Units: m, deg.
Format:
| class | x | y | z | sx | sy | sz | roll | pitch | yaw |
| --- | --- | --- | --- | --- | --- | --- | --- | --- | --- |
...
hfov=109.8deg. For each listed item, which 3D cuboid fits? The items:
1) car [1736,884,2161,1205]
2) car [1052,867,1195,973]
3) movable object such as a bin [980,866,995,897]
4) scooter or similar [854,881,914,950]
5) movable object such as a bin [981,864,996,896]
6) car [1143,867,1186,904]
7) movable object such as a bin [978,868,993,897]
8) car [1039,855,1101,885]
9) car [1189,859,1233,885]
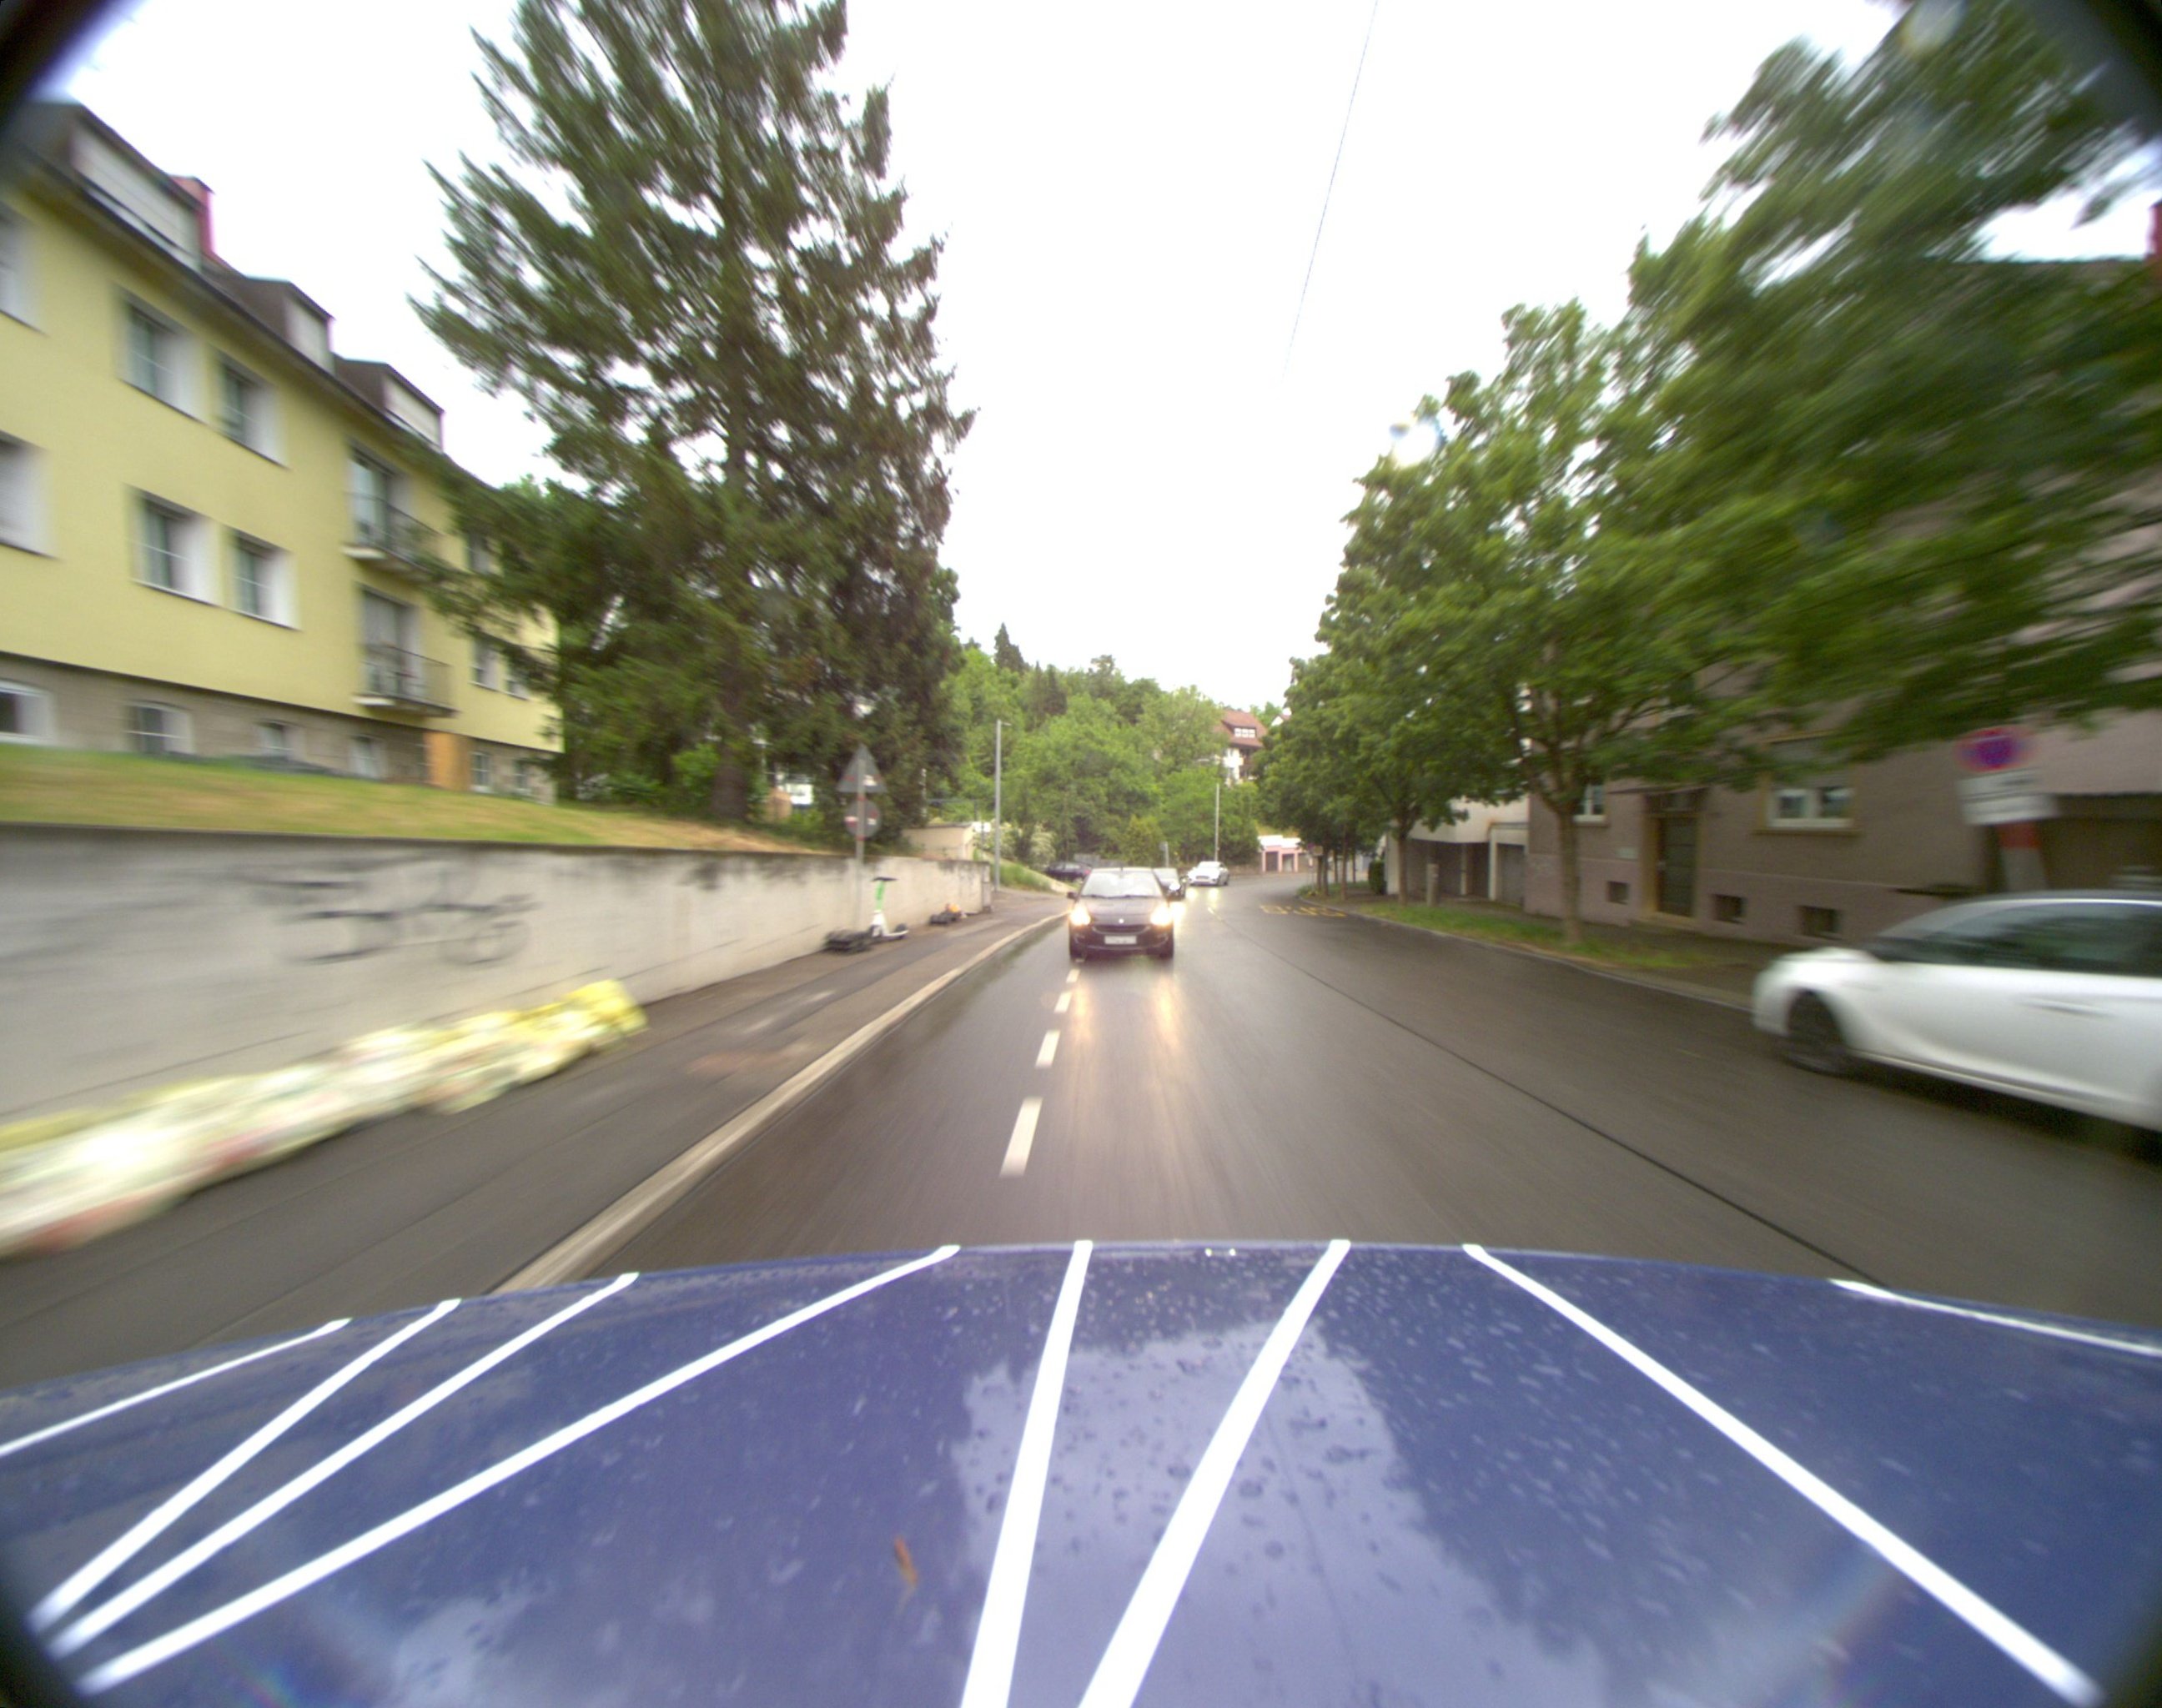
| class | x | y | z | sx | sy | sz | roll | pitch | yaw |
| --- | --- | --- | --- | --- | --- | --- | --- | --- | --- |
| car | 6.162 | 1.037 | 4.417 | 1.621 | 1.462 | 3.670 | 4 | 0 | 4 |
| car | 0.860 | 1.006 | 12.832 | 1.576 | 1.443 | 3.591 | -4 | -2 | 16 |
| movable object such as a bin | -3.934 | 1.139 | 31.860 | 0.564 | 1.260 | 0.453 | 1 | 0 | 0 |
| scooter or similar | -3.477 | 1.061 | 13.511 | 0.599 | 1.126 | 1.371 | 1 | 0 | 5 |
| movable object such as a bin | -3.930 | 1.114 | 32.343 | 0.554 | 1.343 | 0.463 | 1 | 0 | 0 |
| car | 3.698 | 1.336 | 33.856 | 1.806 | 1.480 | 4.019 | 0 | 0 | 6 |
| movable object such as a bin | -3.935 | 1.175 | 31.330 | 0.575 | 1.169 | 0.443 | 1 | 0 | 0 |
| car | -0.635 | 0.980 | 46.235 | 3.464 | 1.623 | 1.580 | 3 | 1 | 10 |
| car | 9.019 | 1.201 | 52.453 | 2.009 | 1.652 | 4.453 | 0 | 0 | 23 |
